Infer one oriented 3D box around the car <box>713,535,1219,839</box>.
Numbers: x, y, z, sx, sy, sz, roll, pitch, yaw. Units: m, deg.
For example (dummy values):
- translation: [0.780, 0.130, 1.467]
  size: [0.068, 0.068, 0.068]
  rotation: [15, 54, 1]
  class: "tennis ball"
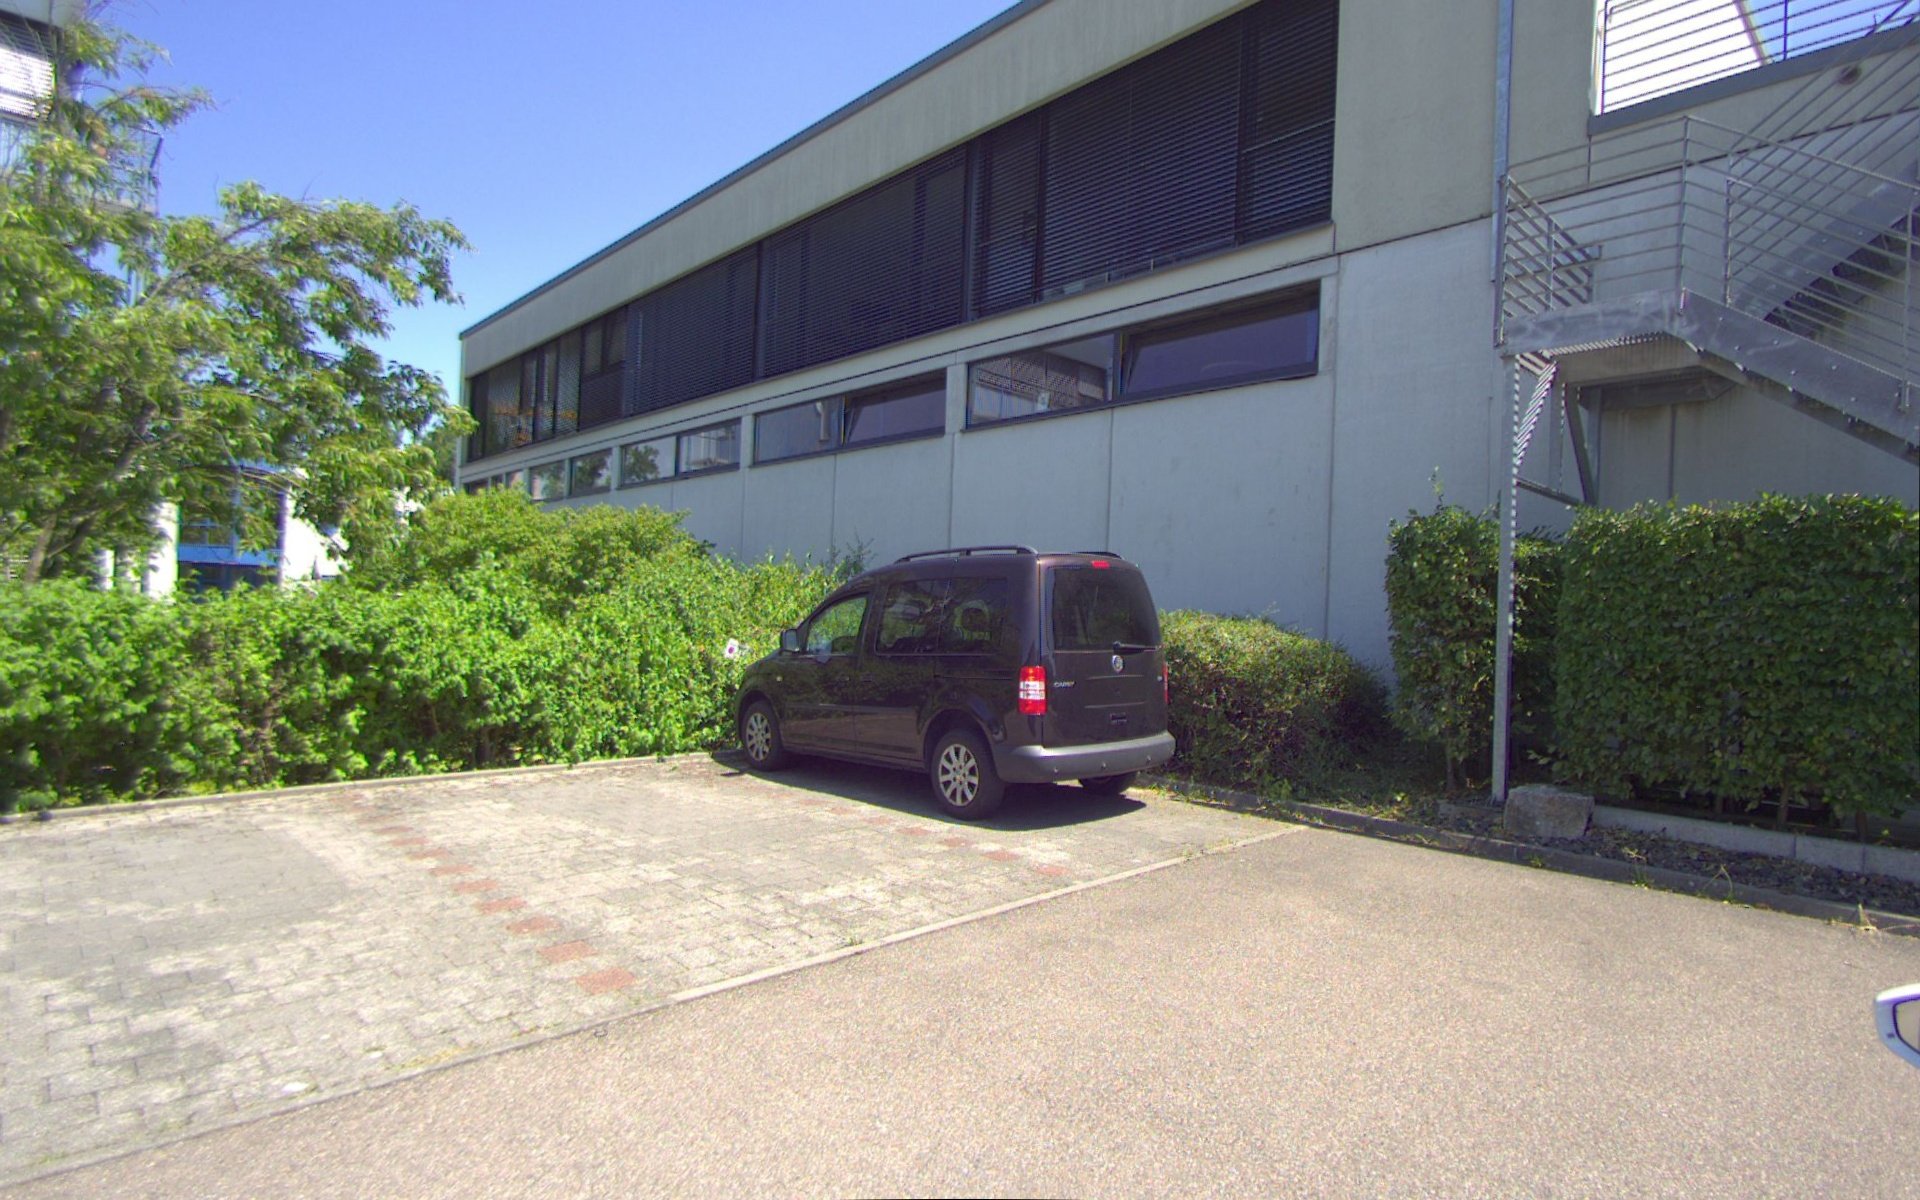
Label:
- translation: [-0.168, 0.538, 8.395]
  size: [1.856, 1.885, 4.174]
  rotation: [1, 0, -44]
  class: "car"
